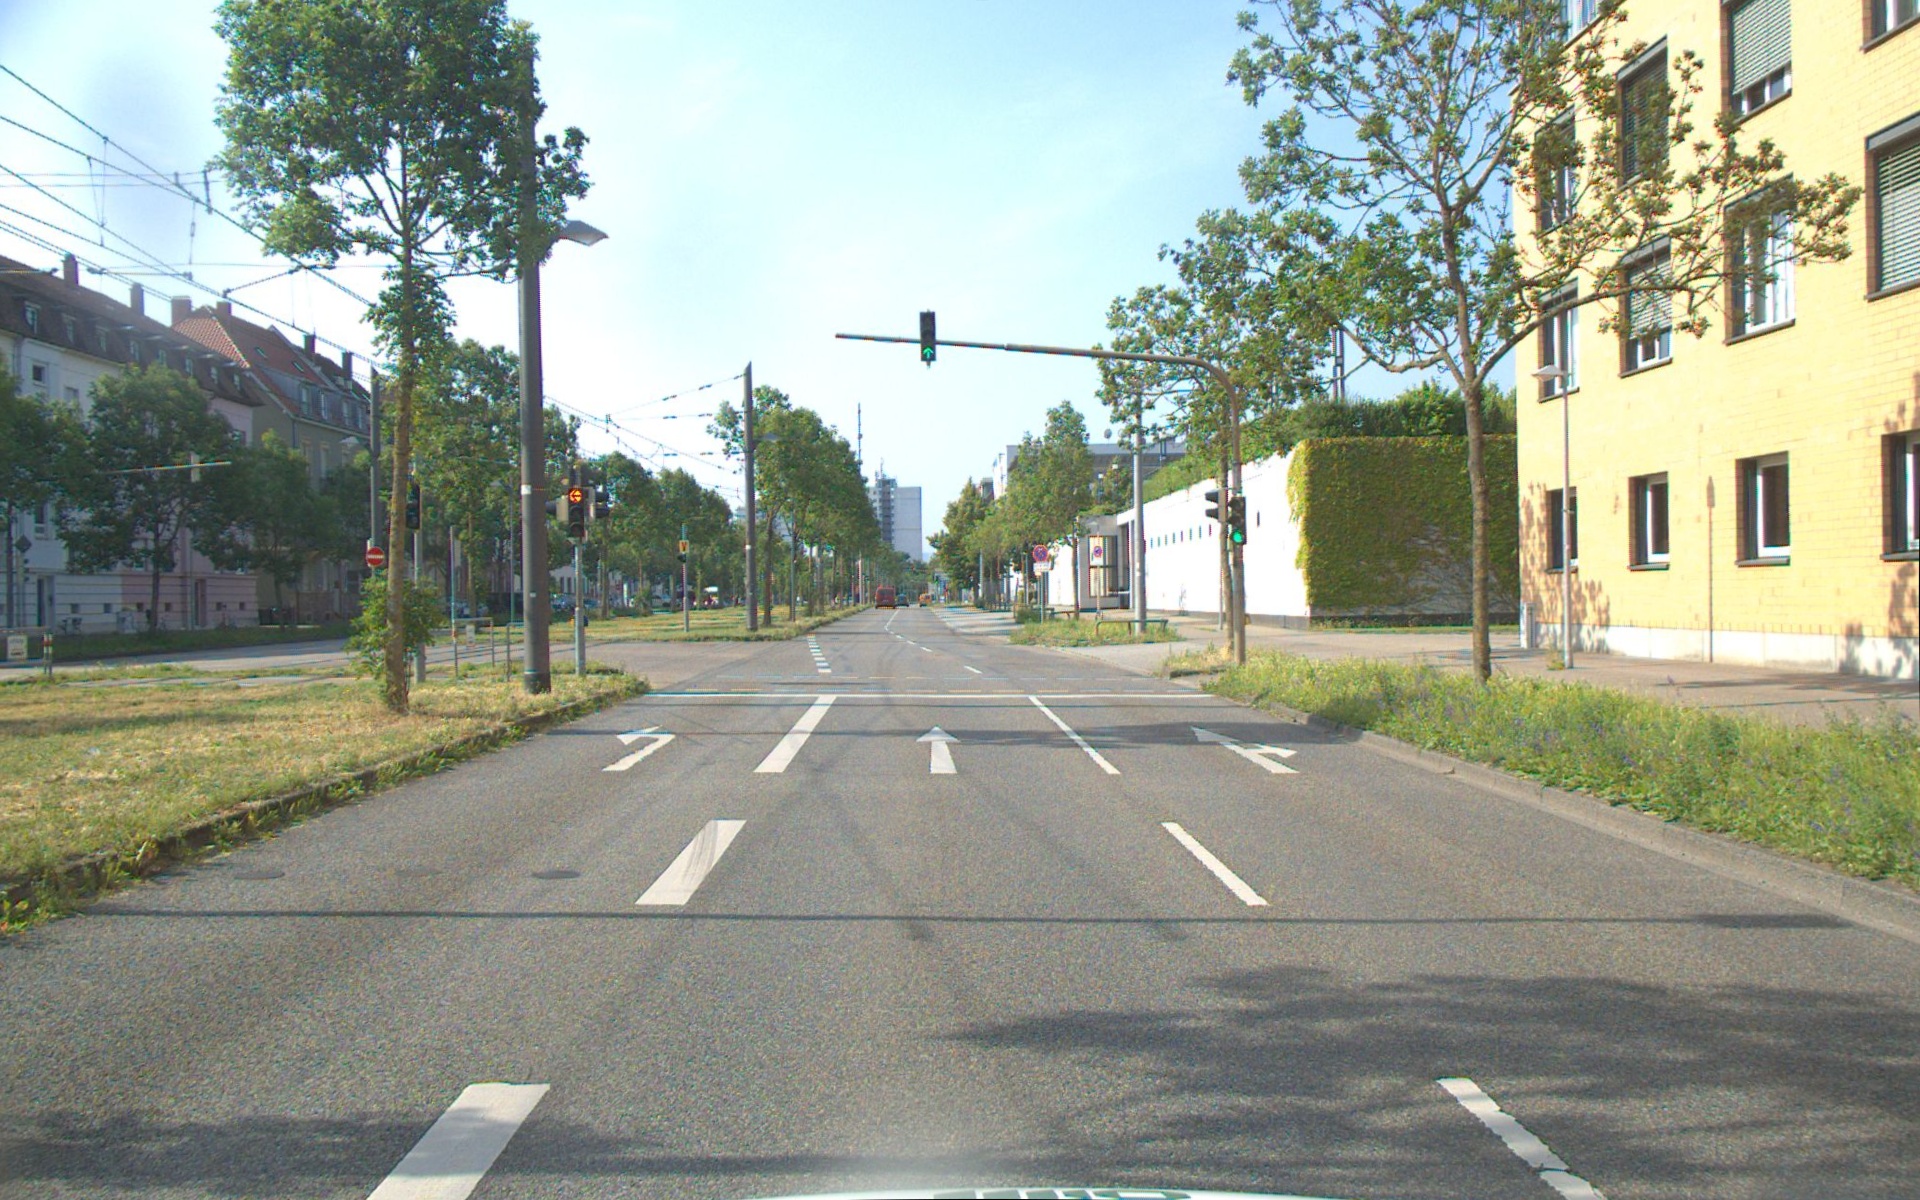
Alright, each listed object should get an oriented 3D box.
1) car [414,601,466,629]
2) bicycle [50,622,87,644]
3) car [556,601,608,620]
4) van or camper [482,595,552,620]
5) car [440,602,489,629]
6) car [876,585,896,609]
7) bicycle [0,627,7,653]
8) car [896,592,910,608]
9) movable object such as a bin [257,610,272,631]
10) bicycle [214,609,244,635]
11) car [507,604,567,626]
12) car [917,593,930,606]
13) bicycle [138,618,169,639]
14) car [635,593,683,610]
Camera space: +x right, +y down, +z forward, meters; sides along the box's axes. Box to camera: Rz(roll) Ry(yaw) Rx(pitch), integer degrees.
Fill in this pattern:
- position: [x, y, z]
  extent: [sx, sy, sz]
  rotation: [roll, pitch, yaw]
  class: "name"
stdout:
- position: [-32.458, 0.923, 103.296]
  extent: [1.954, 1.657, 4.772]
  rotation: [1, 0, -3]
  class: "car"
- position: [-34.128, 1.255, 63.312]
  extent: [0.428, 0.803, 1.946]
  rotation: [1, -1, -3]
  class: "bicycle"
- position: [-30.978, 0.849, 135.491]
  extent: [3.907, 1.442, 1.576]
  rotation: [1, -1, 24]
  class: "car"
- position: [-31.252, 0.544, 116.707]
  extent: [4.746, 1.652, 1.998]
  rotation: [1, -1, 31]
  class: "van or camper"
- position: [-32.631, 1.018, 109.031]
  extent: [1.851, 1.657, 4.156]
  rotation: [1, 0, 1]
  class: "car"
- position: [-6.700, -0.275, 150.180]
  extent: [1.713, 2.049, 3.215]
  rotation: [1, -1, -1]
  class: "car"
- position: [-33.700, 1.392, 57.196]
  extent: [0.458, 0.904, 1.946]
  rotation: [1, -1, -3]
  class: "bicycle"
- position: [-7.641, 0.034, 220.907]
  extent: [1.713, 2.049, 3.215]
  rotation: [1, -1, -1]
  class: "car"
- position: [-40.827, 1.185, 97.090]
  extent: [0.573, 1.232, 0.640]
  rotation: [1, -1, -3]
  class: "movable object such as a bin"
- position: [-34.375, 1.030, 77.780]
  extent: [0.592, 1.147, 1.946]
  rotation: [1, -1, -3]
  class: "bicycle"
- position: [-31.320, 1.103, 122.396]
  extent: [4.386, 1.444, 1.968]
  rotation: [1, -1, 36]
  class: "car"
- position: [-4.949, -0.050, 226.278]
  extent: [1.713, 1.679, 3.215]
  rotation: [1, -1, -1]
  class: "car"
- position: [-34.175, 1.205, 70.082]
  extent: [0.438, 0.872, 1.946]
  rotation: [1, -1, -3]
  class: "bicycle"
- position: [-33.026, 0.188, 181.287]
  extent: [5.214, 1.768, 1.995]
  rotation: [1, -1, 32]
  class: "car"
